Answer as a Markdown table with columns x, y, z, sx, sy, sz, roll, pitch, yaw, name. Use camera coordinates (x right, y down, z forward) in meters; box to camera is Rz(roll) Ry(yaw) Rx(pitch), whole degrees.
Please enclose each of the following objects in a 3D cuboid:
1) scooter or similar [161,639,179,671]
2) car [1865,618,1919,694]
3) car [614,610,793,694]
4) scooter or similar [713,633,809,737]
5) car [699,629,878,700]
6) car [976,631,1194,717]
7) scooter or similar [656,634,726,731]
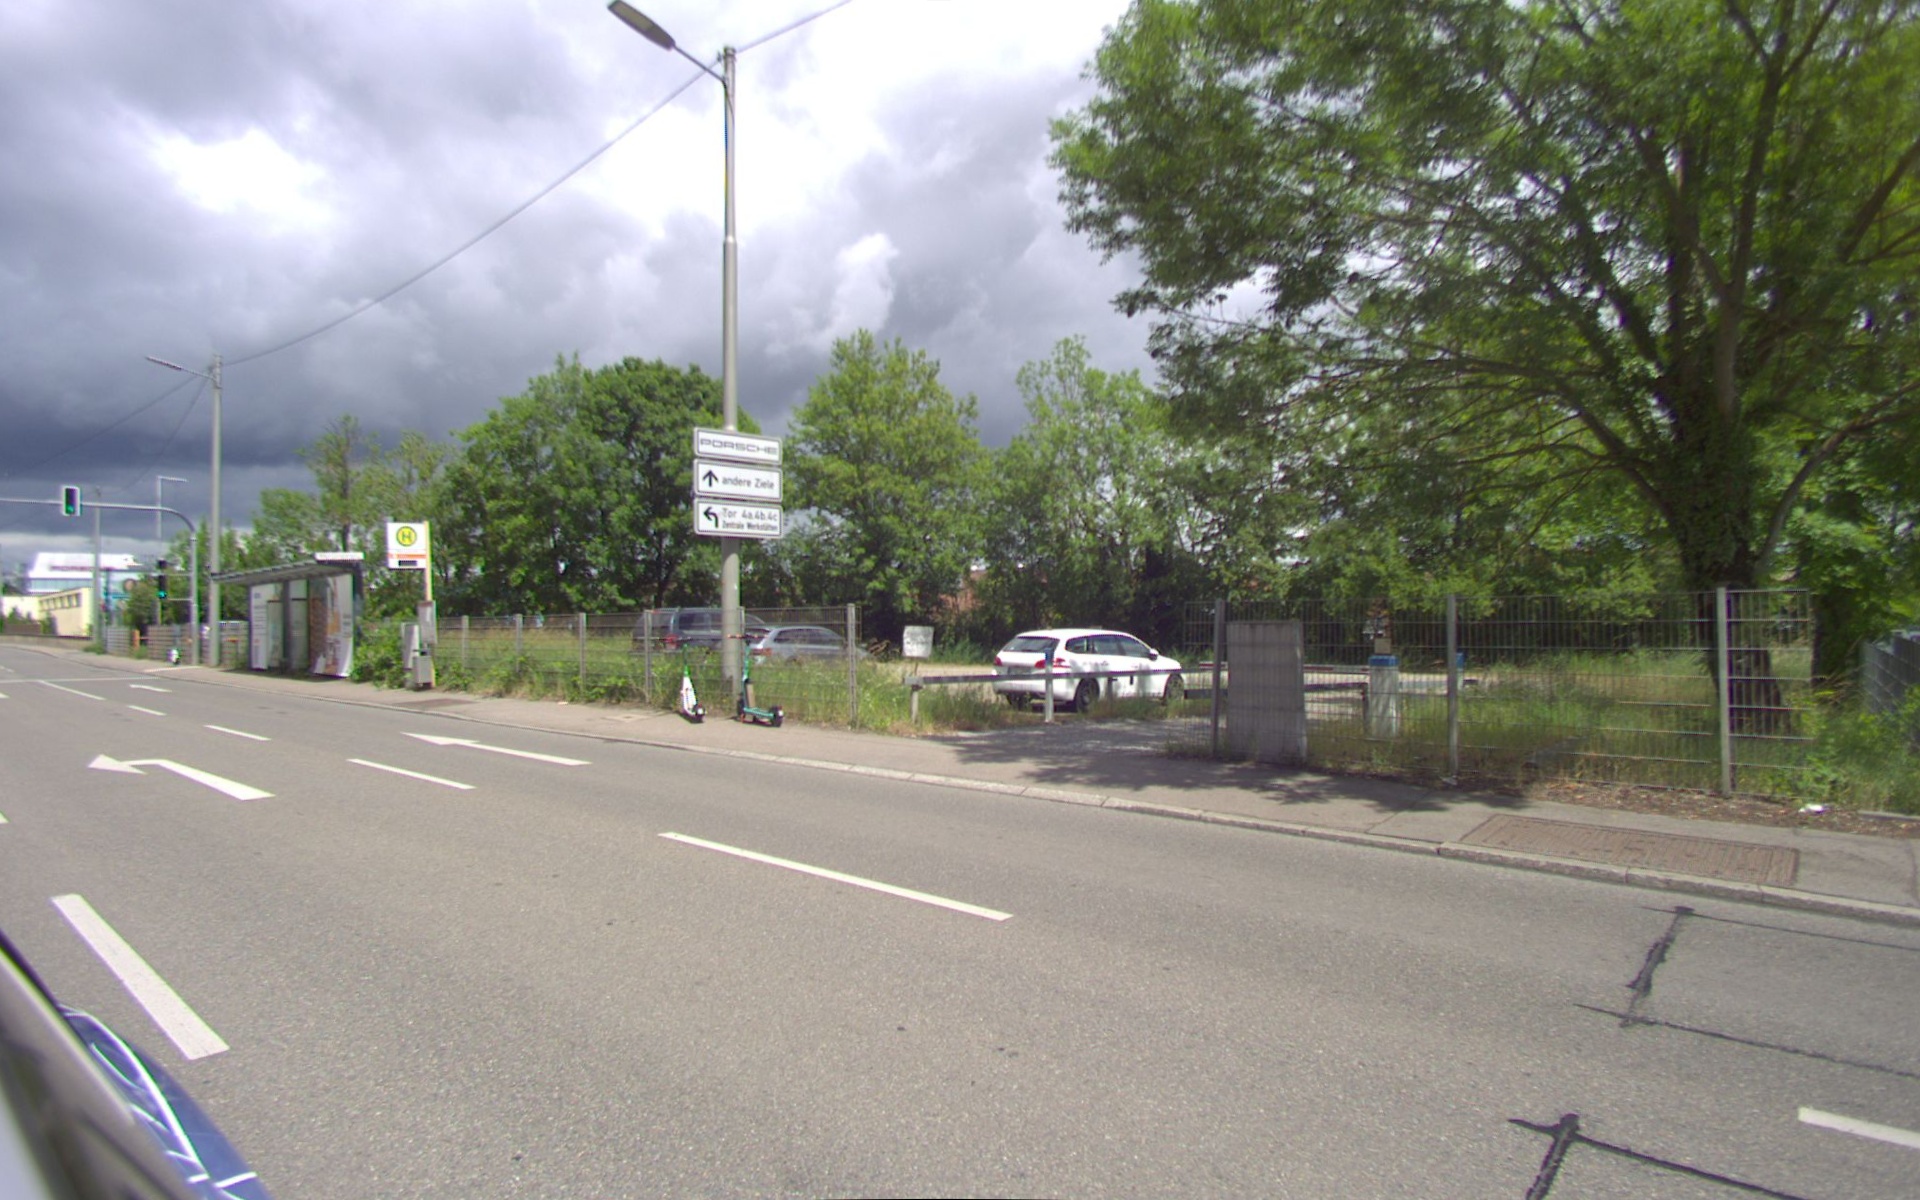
| x | y | z | sx | sy | sz | roll | pitch | yaw | name |
| --- | --- | --- | --- | --- | --- | --- | --- | --- | --- |
| -30.814 | 2.139 | 39.479 | 0.419 | 1.220 | 1.127 | -1 | -1 | -44 | scooter or similar |
| 23.281 | 1.295 | 23.642 | 1.830 | 1.742 | 4.143 | -1 | -1 | 22 | car |
| -6.649 | 1.290 | 26.611 | 2.136 | 2.029 | 4.240 | -1 | -1 | 34 | car |
| -2.658 | 1.091 | 13.428 | 0.528 | 1.275 | 1.473 | -1 | 0 | -43 | scooter or similar |
| -4.012 | 1.469 | 24.366 | 1.905 | 1.498 | 4.242 | -1 | -1 | 33 | car |
| 2.440 | 1.305 | 19.097 | 4.226 | 1.391 | 1.867 | 1 | -2 | -44 | car |
| -3.835 | 1.134 | 14.356 | 0.527 | 1.272 | 1.476 | -2 | 0 | -31 | scooter or similar |
